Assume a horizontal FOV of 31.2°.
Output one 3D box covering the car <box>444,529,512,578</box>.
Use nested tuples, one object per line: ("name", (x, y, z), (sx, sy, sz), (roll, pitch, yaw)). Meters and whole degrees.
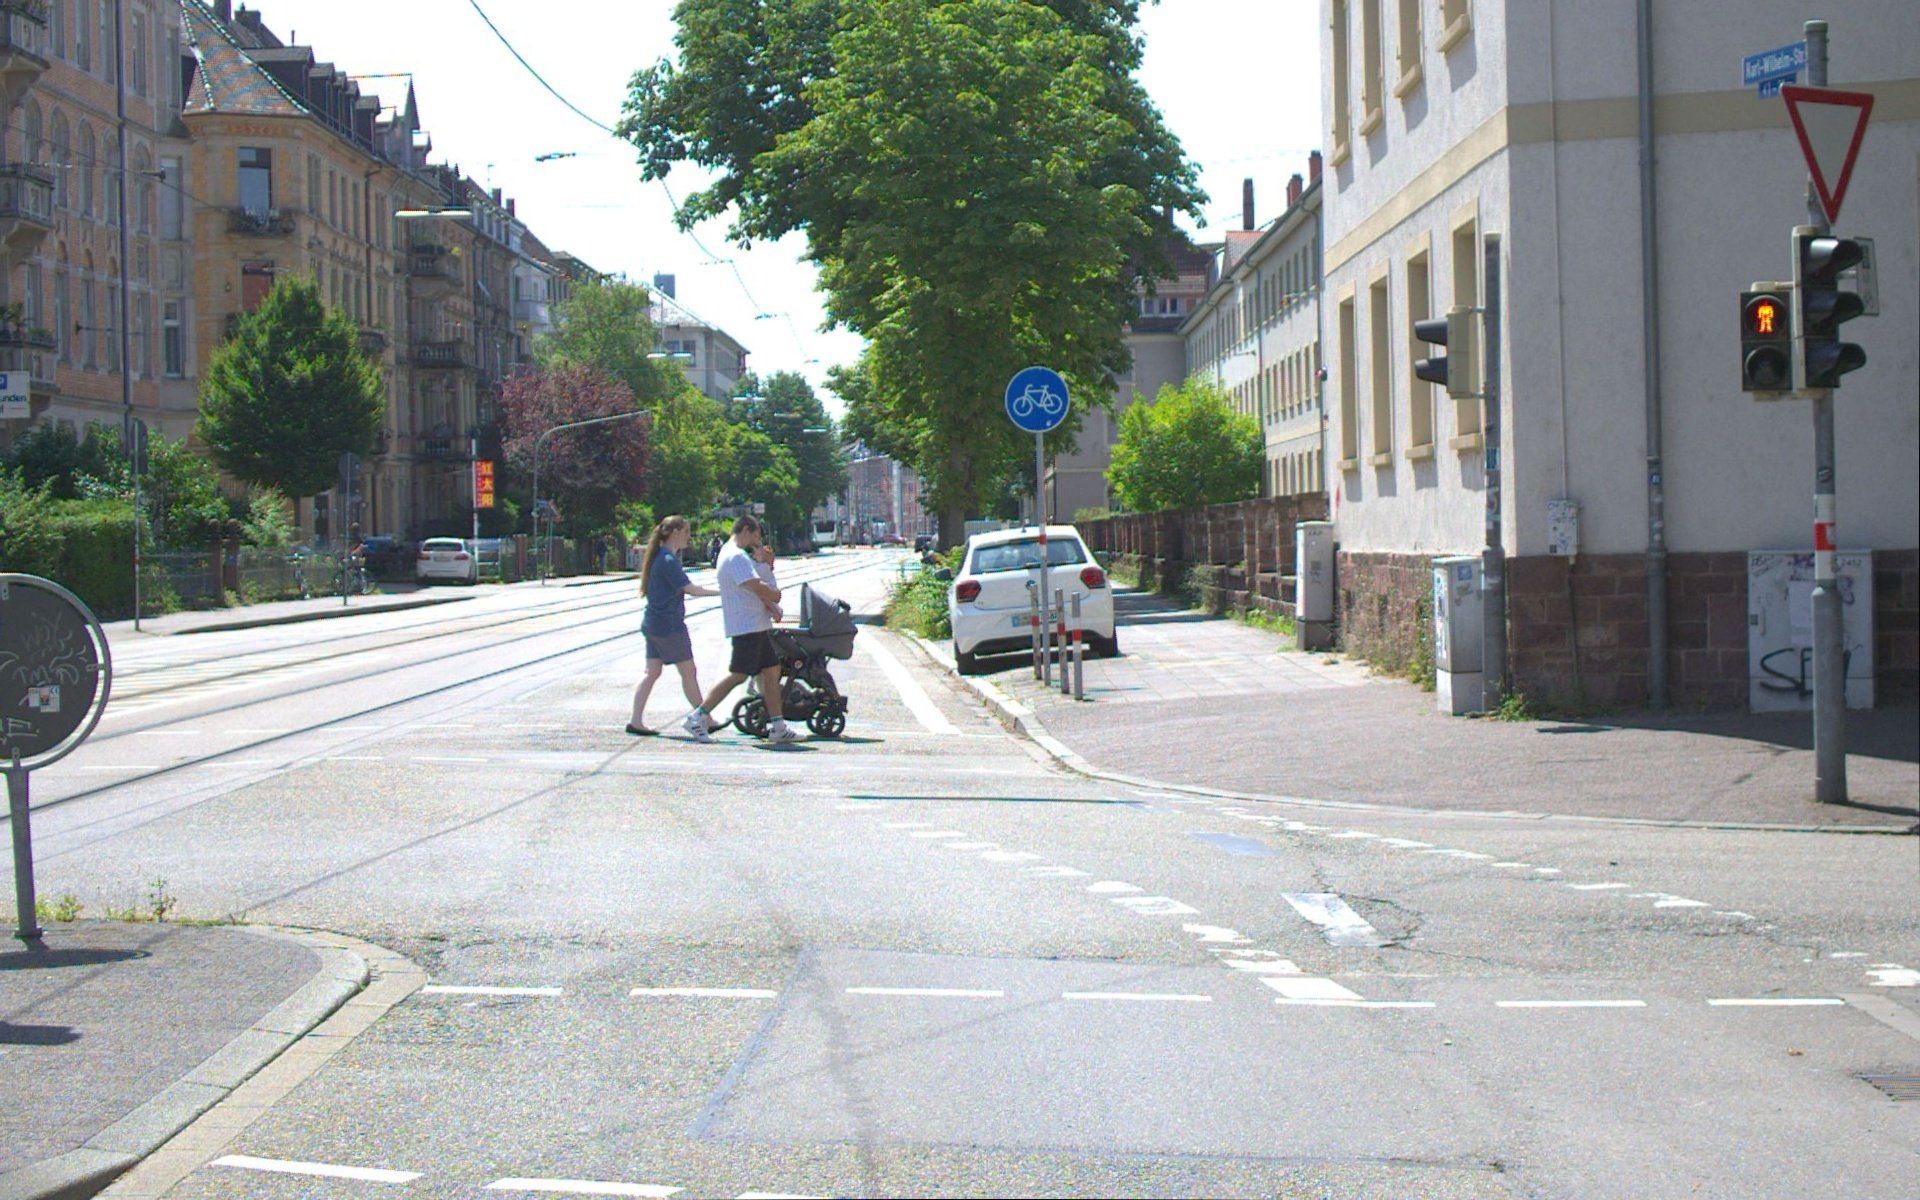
("car", (-17.332, -1.658, 123.842), (1.919, 1.709, 4.000), (1, 1, -1))

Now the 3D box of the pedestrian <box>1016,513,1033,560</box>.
("pedestrian", (2.163, -2.127, 114.943), (0.521, 1.557, 0.573), (-1, 1, -1))

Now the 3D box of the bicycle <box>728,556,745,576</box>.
("bicycle", (-12.355, -1.871, 189.961), (0.727, 1.119, 2.085), (1, 1, 1))

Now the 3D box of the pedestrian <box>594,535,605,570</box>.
("pedestrian", (-14.977, -1.976, 142.913), (0.406, 1.456, 0.436), (-1, 1, -1))

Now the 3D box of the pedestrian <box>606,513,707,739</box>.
("pedestrian", (-2.237, 0.186, 25.382), (0.675, 1.640, 0.558), (1, 0, 0))

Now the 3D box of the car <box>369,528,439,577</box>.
("car", (-20.018, -1.696, 123.915), (1.919, 1.709, 4.000), (1, 1, -1))

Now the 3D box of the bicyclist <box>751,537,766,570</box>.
("bicyclist", (-11.111, -2.566, 189.811), (0.727, 1.812, 1.079), (1, 0, 1))

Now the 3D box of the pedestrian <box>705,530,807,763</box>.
("pedestrian", (-1.454, 0.325, 24.601), (0.675, 1.640, 0.558), (1, 0, 0))

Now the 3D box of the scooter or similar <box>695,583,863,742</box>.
("scooter or similar", (-1.353, 0.461, 25.602), (1.201, 1.151, 0.558), (1, 0, -6))

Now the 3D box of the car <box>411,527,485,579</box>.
("car", (-17.188, -1.573, 115.578), (1.919, 1.709, 4.000), (1, 1, -1))

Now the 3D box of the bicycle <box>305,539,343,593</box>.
("bicycle", (-15.660, -0.846, 84.681), (0.677, 1.274, 1.919), (-1, 1, -3))

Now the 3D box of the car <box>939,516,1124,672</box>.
("car", (0.721, -0.082, 37.339), (1.815, 1.511, 4.000), (-3, 1, -1))

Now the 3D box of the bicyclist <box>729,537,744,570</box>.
("bicyclist", (-12.345, -2.567, 190.021), (0.727, 1.812, 1.079), (1, 0, 1))

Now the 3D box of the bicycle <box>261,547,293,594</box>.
("bicycle", (-15.903, -0.696, 80.038), (0.677, 1.061, 1.919), (-1, 1, -11))
